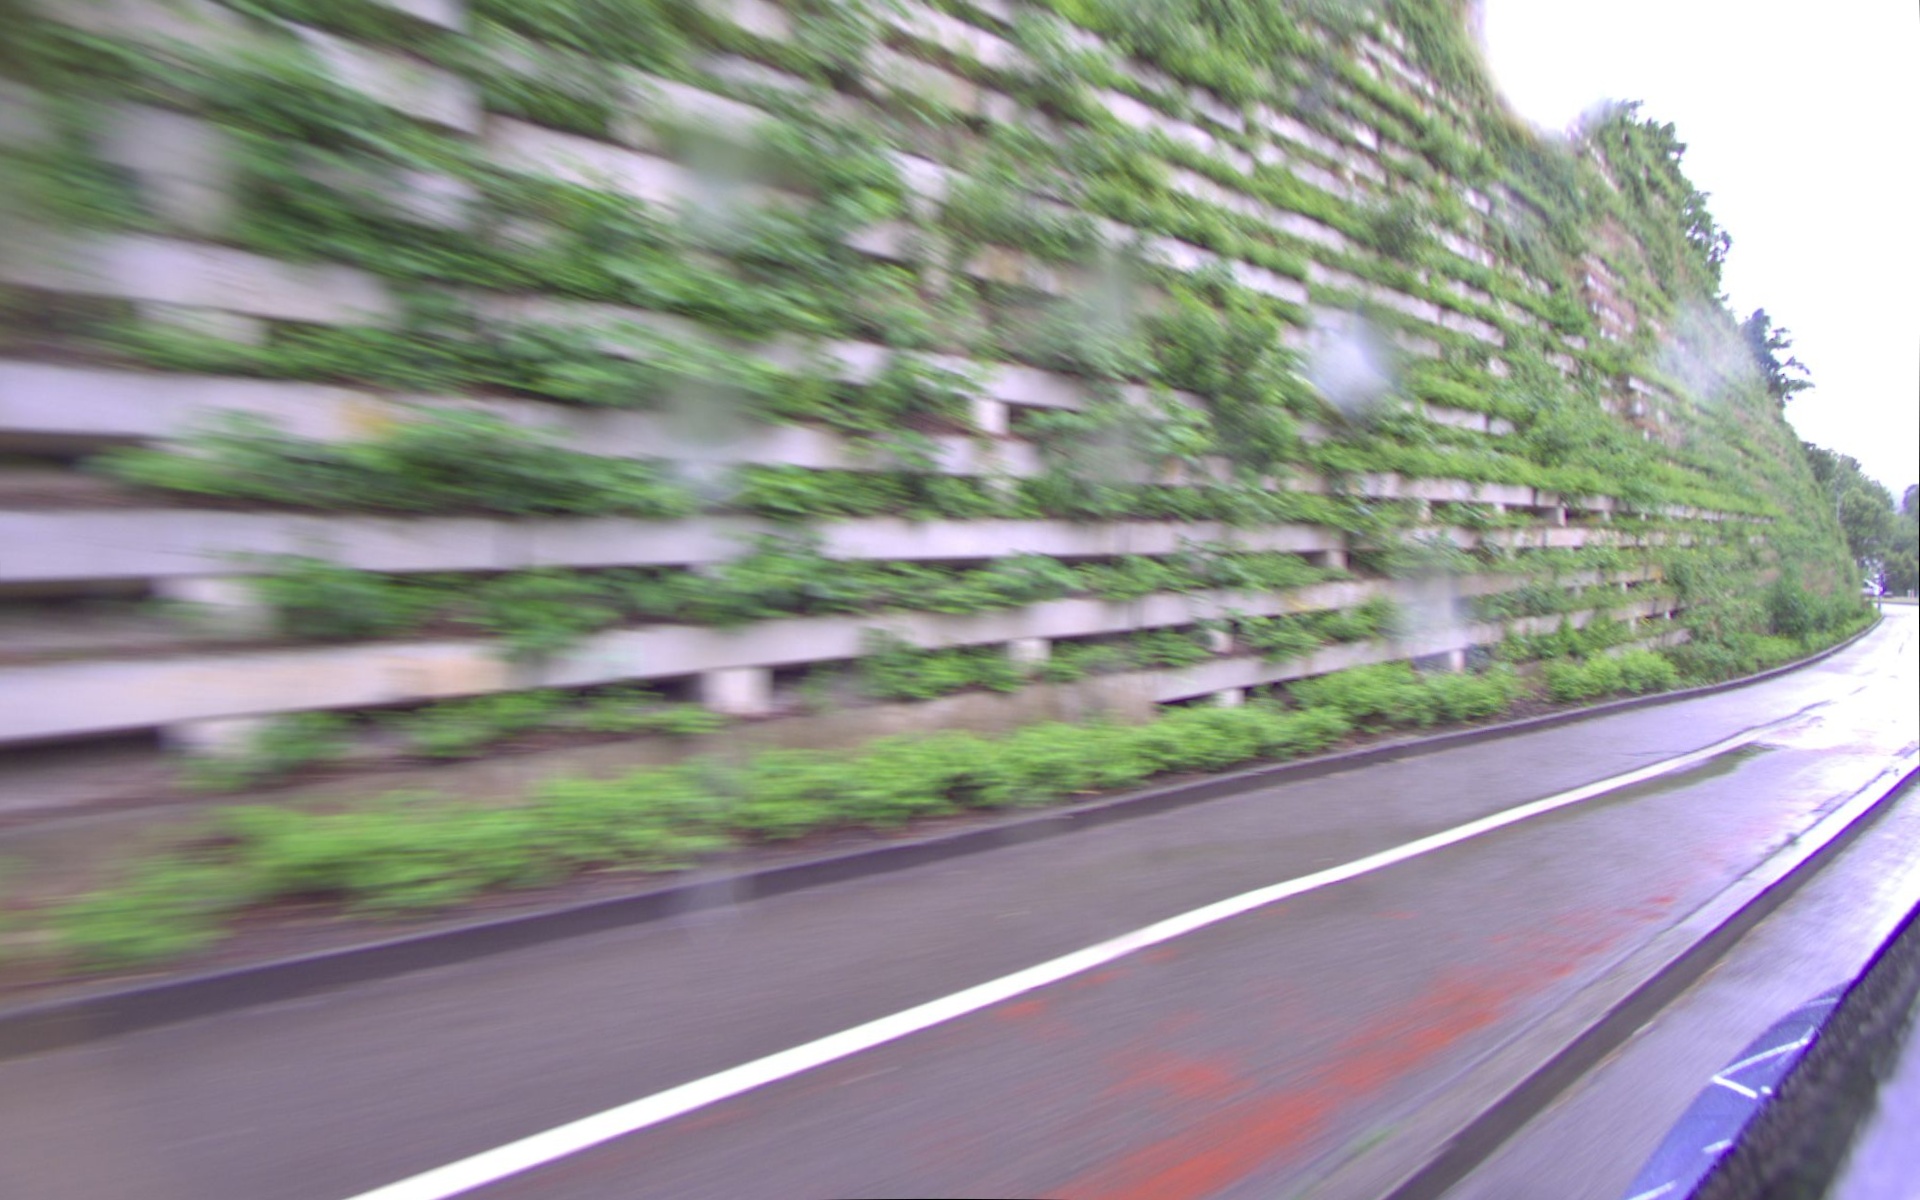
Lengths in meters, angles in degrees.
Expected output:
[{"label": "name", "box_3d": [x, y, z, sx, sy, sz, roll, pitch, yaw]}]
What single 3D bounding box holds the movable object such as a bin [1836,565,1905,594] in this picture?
[{"label": "movable object such as a bin", "box_3d": [91.488, -2.126, 101.841, 2.274, 2.718, 5.690, 3, 3, 9]}]
